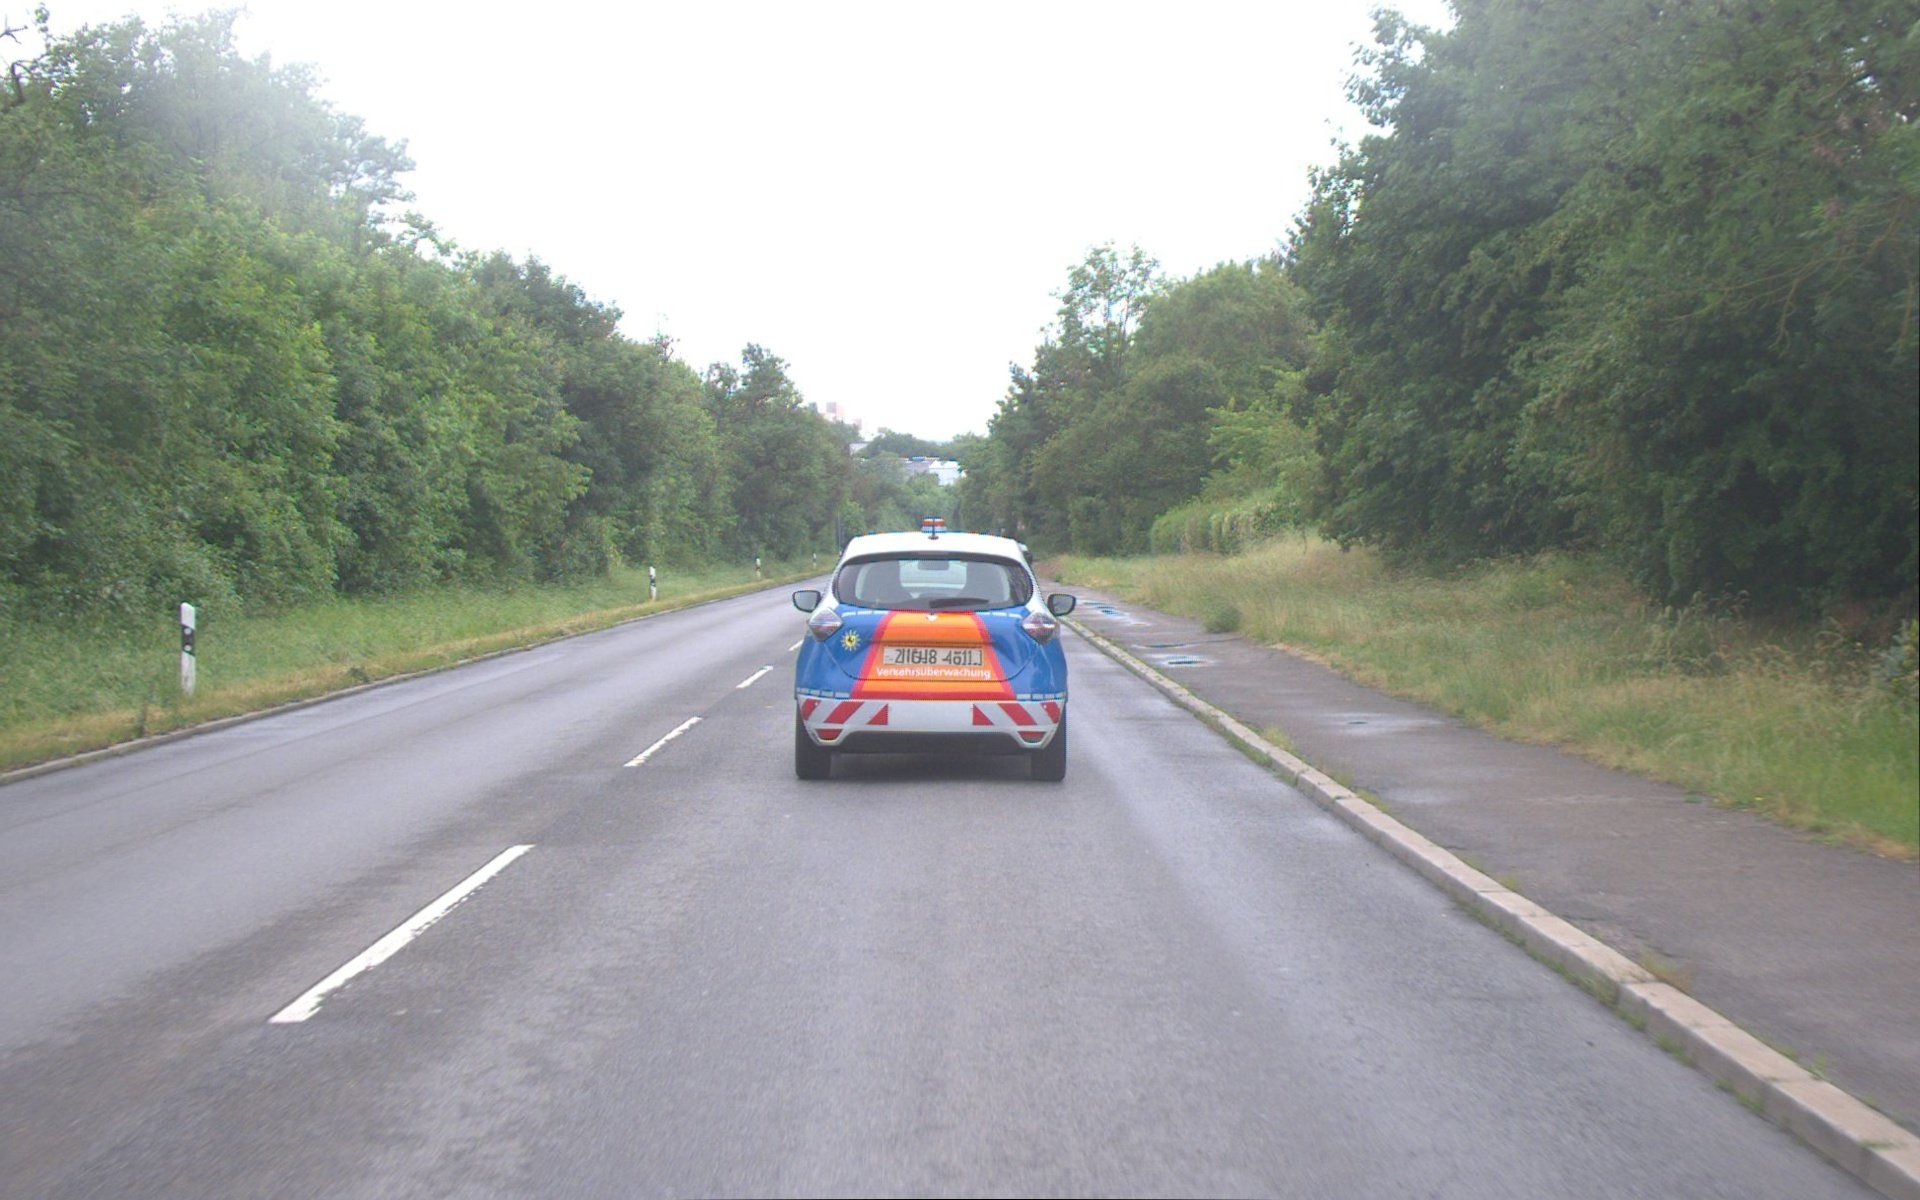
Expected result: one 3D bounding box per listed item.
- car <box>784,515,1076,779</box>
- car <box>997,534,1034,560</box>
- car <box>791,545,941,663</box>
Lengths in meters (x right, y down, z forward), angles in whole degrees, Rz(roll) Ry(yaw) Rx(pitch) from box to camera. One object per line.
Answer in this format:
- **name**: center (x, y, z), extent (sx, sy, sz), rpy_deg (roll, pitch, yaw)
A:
- **car**: center (-0.195, 0.240, 22.693), extent (1.752, 1.550, 3.793), rpy_deg (1, 2, 0)
- **car**: center (3.074, -2.910, 189.938), extent (1.993, 1.371, 4.000), rpy_deg (-1, 1, 0)
- **car**: center (-1.060, 0.019, 40.145), extent (1.598, 1.282, 3.476), rpy_deg (-1, 1, 1)
